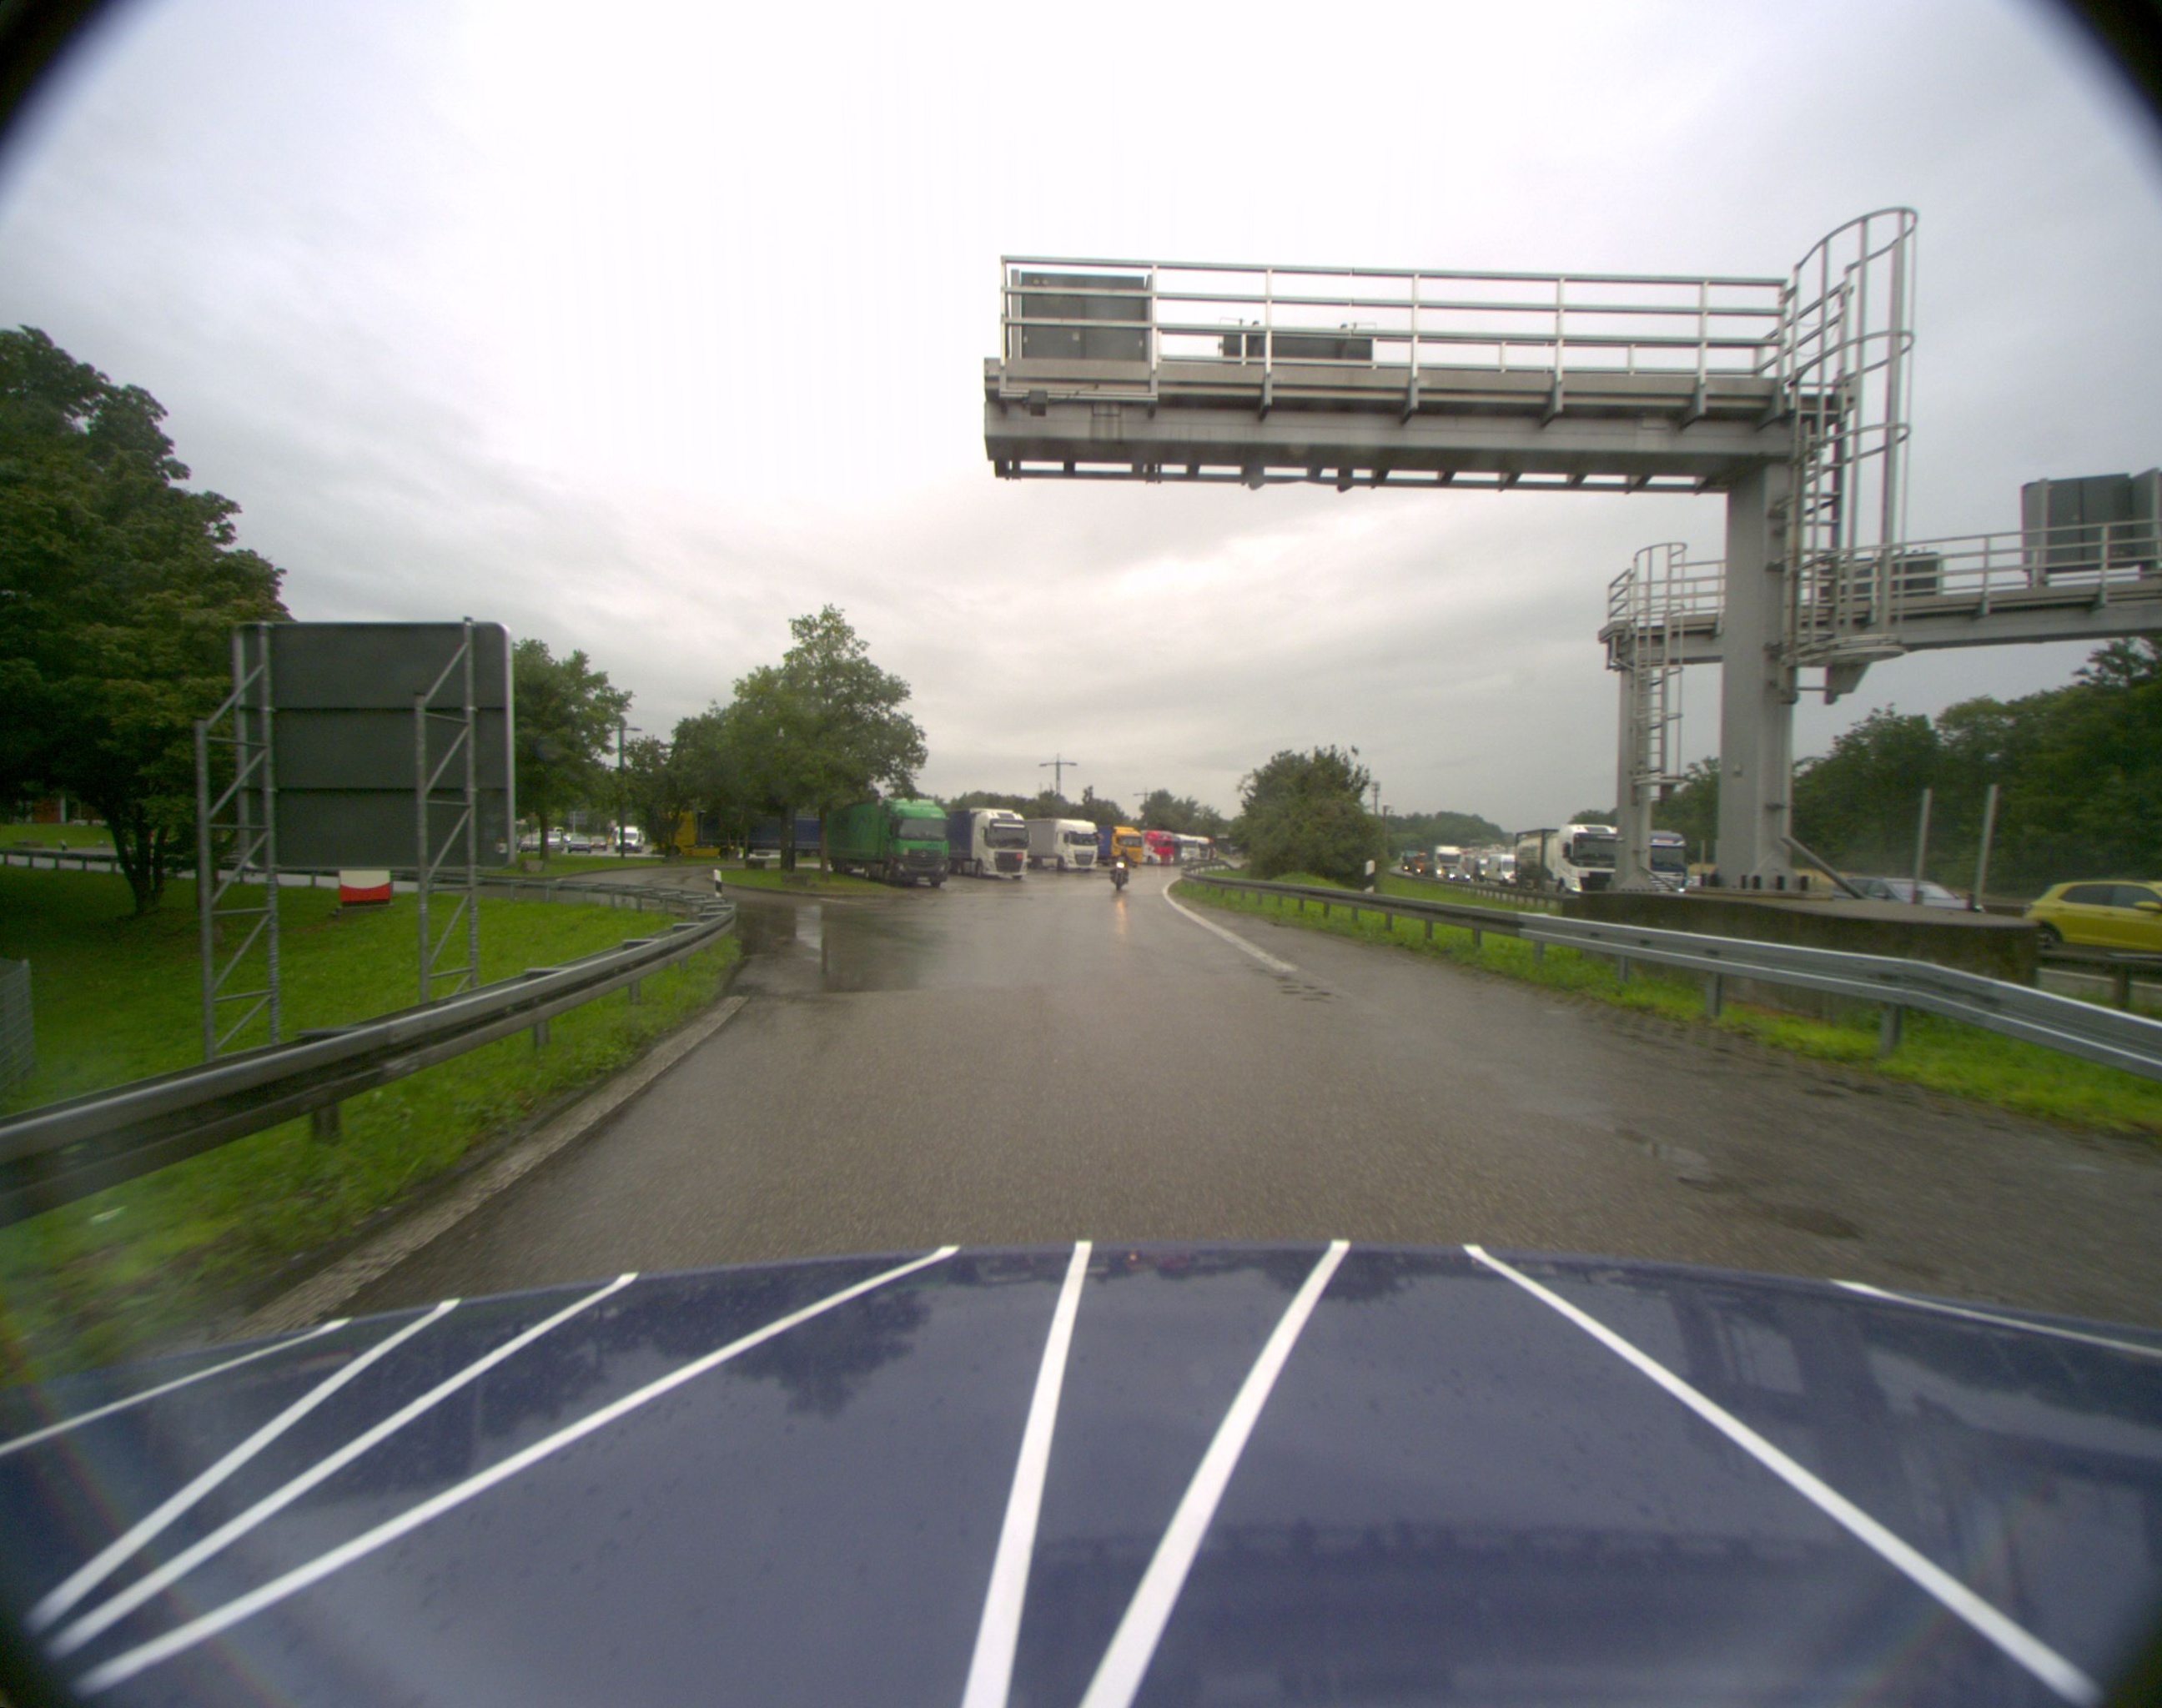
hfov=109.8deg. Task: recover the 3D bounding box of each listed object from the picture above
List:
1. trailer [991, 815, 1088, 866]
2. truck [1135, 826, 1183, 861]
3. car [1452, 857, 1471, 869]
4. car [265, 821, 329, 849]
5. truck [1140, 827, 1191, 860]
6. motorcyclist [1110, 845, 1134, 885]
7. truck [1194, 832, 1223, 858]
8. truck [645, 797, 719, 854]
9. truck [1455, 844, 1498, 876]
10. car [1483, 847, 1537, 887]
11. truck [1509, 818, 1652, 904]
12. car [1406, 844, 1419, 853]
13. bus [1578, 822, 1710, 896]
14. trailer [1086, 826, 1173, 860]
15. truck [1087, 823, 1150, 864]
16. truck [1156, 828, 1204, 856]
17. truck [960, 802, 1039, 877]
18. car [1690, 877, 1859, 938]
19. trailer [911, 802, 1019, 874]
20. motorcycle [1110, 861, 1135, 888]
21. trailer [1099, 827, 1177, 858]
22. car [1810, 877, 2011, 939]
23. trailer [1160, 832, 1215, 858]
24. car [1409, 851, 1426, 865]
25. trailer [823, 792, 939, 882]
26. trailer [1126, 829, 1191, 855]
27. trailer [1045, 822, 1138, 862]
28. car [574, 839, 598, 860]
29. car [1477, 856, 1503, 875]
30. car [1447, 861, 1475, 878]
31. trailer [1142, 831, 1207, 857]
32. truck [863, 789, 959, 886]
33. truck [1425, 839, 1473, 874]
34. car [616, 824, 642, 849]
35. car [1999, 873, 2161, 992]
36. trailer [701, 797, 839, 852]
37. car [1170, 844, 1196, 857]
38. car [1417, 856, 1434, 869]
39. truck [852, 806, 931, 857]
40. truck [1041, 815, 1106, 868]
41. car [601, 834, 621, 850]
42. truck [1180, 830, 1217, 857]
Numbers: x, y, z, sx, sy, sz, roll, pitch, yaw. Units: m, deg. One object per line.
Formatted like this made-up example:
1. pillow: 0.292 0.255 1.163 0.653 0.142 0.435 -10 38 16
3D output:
1. trailer: -3.970 -1.232 65.960 2.849 3.897 13.920 1 1 -28
2. truck: 9.241 -1.273 90.425 3.251 3.897 5.008 1 1 -30
3. car: 54.927 1.276 109.718 1.818 1.652 3.992 1 0 17
4. car: -53.447 -1.273 51.889 1.971 1.724 4.532 -3 1 -32
5. truck: 10.522 -1.384 95.209 2.904 3.897 6.538 1 1 -30
6. motorcyclist: 1.674 0.436 31.022 0.878 1.559 1.373 2 0 0
7. truck: 22.123 -1.606 131.916 2.611 4.362 4.617 0 1 -30
8. truck: -33.238 -2.363 63.411 5.085 4.526 3.431 -2 1 -28
9. truck: 49.865 0.686 96.061 3.037 3.655 9.447 -2 1 17
10. car: 31.147 0.887 55.389 2.365 2.628 6.906 -2 1 21
11. truck: 27.288 0.242 42.440 3.351 4.047 12.587 -2 1 18
12. car: 65.348 -1.011 149.874 1.816 1.746 4.692 0 0 18
13. bus: 32.421 0.189 44.390 2.898 3.746 10.442 -2 1 17
14. trailer: 5.866 -1.495 96.250 3.251 3.897 14.792 1 1 -30
15. truck: 3.712 -1.135 77.703 2.845 3.897 8.111 1 1 -26
16. truck: 15.426 -1.919 118.914 3.251 4.068 7.917 1 1 -30
17. truck: -4.900 -0.884 44.781 2.831 4.122 5.289 0 2 -27
18. car: 21.401 1.569 23.753 1.930 1.513 4.768 1 0 16
19. trailer: -8.206 -1.120 51.218 2.831 4.147 13.960 0 2 -27
20. motorcycle: 1.668 0.830 31.126 0.878 1.016 2.352 2 0 0
21. trailer: 7.316 -1.616 100.763 2.881 3.897 13.899 1 1 -30
22. car: 25.257 1.559 23.452 1.930 1.513 4.768 1 0 16
23. trailer: 19.069 -1.653 137.162 2.547 4.361 12.801 0 1 -30
24. car: 53.049 0.601 119.899 1.996 2.149 4.450 1 0 18
25. trailer: -11.407 -0.977 41.802 2.831 4.126 13.932 0 2 -29
26. trailer: 12.413 -2.069 124.125 3.251 4.068 13.498 1 1 -30
27. trailer: 0.705 -1.421 83.651 2.873 3.897 16.593 1 1 -27
28. car: -46.620 -0.433 71.562 1.787 1.871 3.990 -3 1 -32
29. car: 46.384 1.279 86.309 1.732 2.002 4.005 1 0 15
30. car: 38.239 1.536 76.511 1.816 1.674 4.005 0 0 17
31. trailer: 16.104 -1.814 132.908 3.251 4.361 14.359 0 1 -30
32. truck: -8.118 -0.768 35.716 2.831 4.126 5.982 0 2 -29
33. truck: 42.981 0.239 89.064 3.532 3.825 9.446 -2 1 16
34. car: -46.818 -1.784 78.718 2.004 2.498 4.727 0 1 -34
35. car: 18.006 1.279 12.339 1.796 1.783 4.244 1 0 15
36. trailer: -27.164 -2.613 66.631 10.754 4.526 3.431 -2 1 -28
37. car: 15.141 -0.541 113.225 1.851 1.848 3.990 0 1 -28
38. car: 50.457 1.250 111.407 1.816 1.746 4.692 0 0 19
39. truck: -17.891 -2.063 71.630 6.546 4.482 3.251 1 1 -28
40. truck: -0.680 -0.978 59.722 2.835 3.890 5.397 0 1 -28
41. car: -52.714 -1.369 85.230 1.831 1.666 3.990 -3 1 -32
42. truck: 19.600 -1.791 126.905 3.251 4.361 5.799 0 1 -30
